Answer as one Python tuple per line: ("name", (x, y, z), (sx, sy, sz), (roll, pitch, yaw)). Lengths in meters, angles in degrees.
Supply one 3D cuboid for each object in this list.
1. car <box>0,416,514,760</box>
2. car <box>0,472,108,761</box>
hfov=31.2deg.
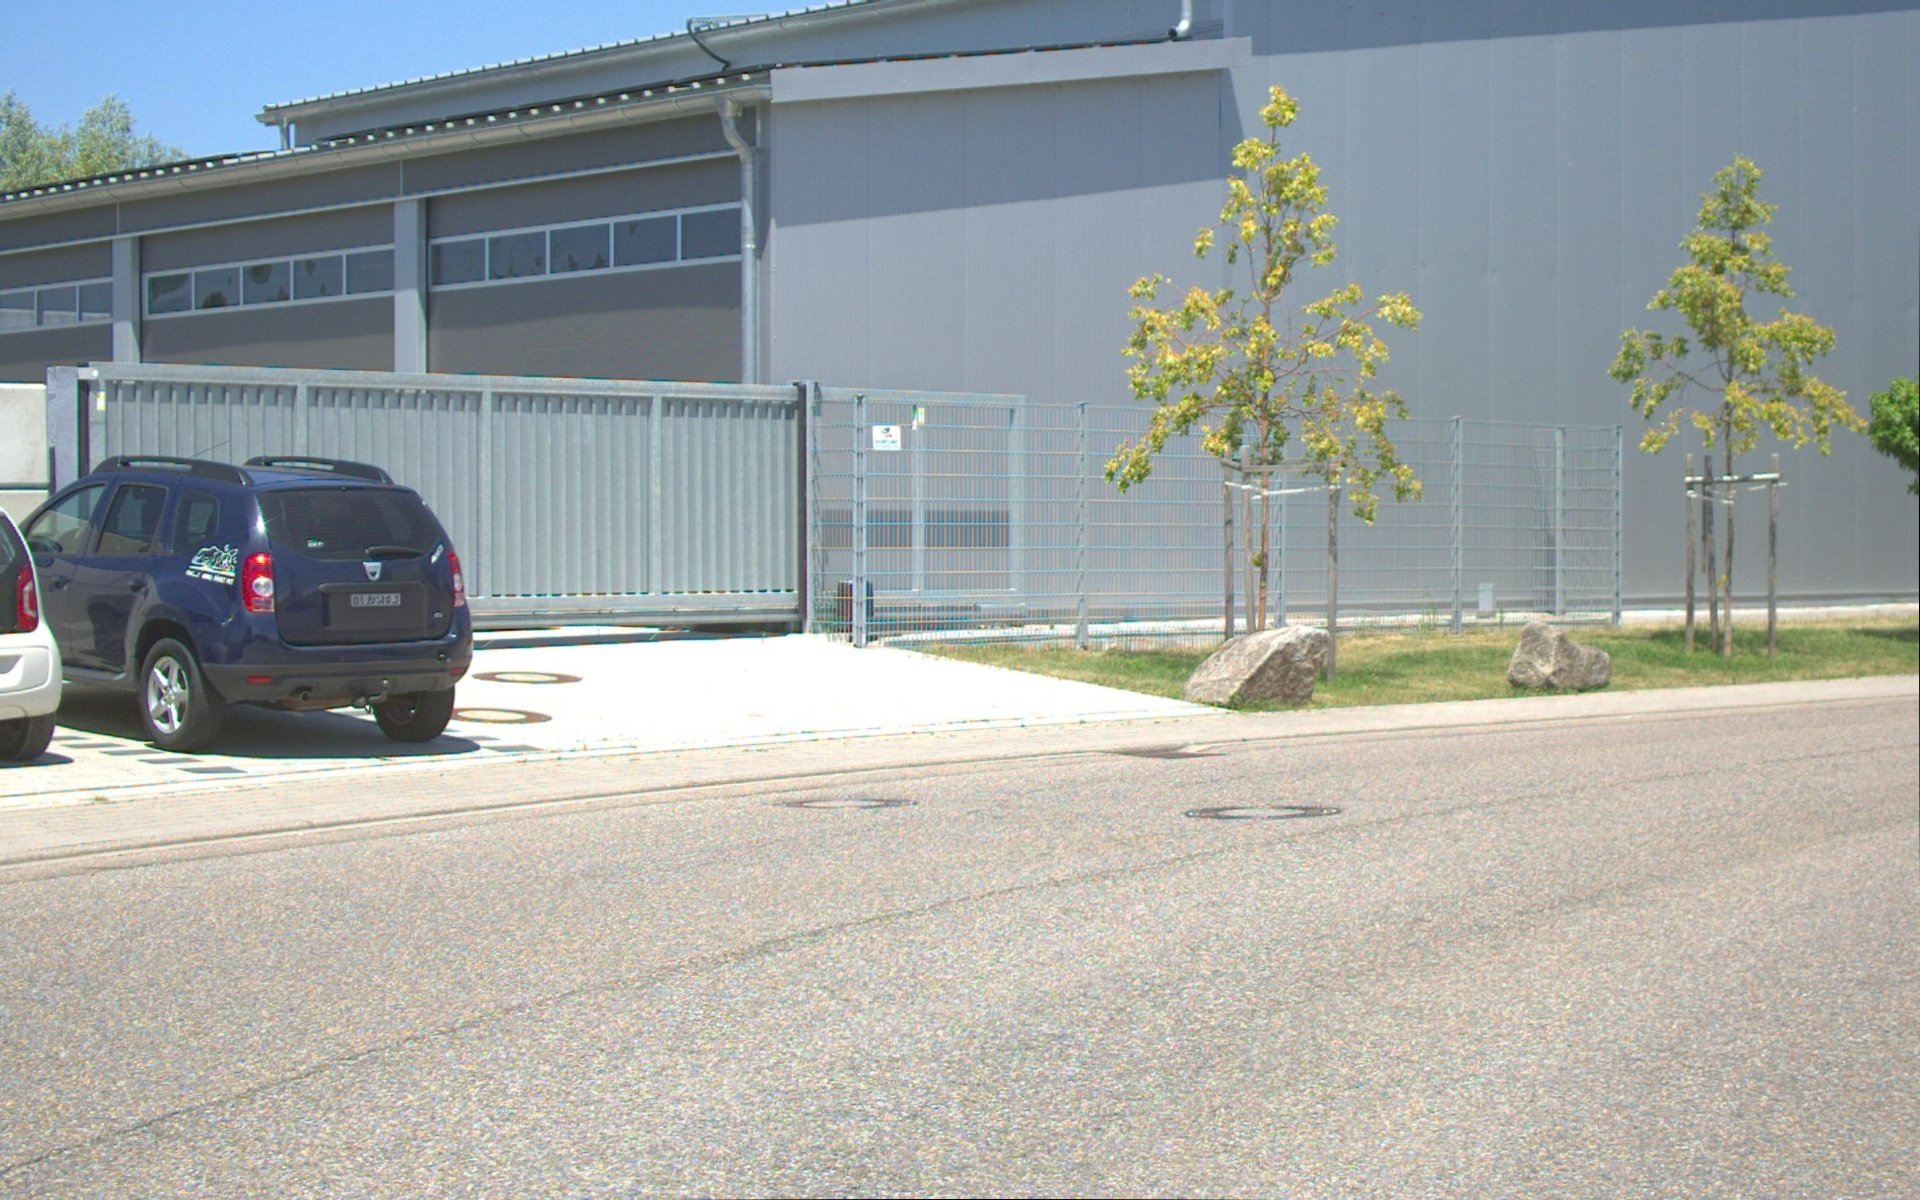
("car", (-4.704, -0.158, 21.000), (1.777, 1.653, 4.175), (0, 6, -42))
("car", (-6.451, -0.042, 19.184), (1.777, 1.456, 3.370), (0, 6, -44))
